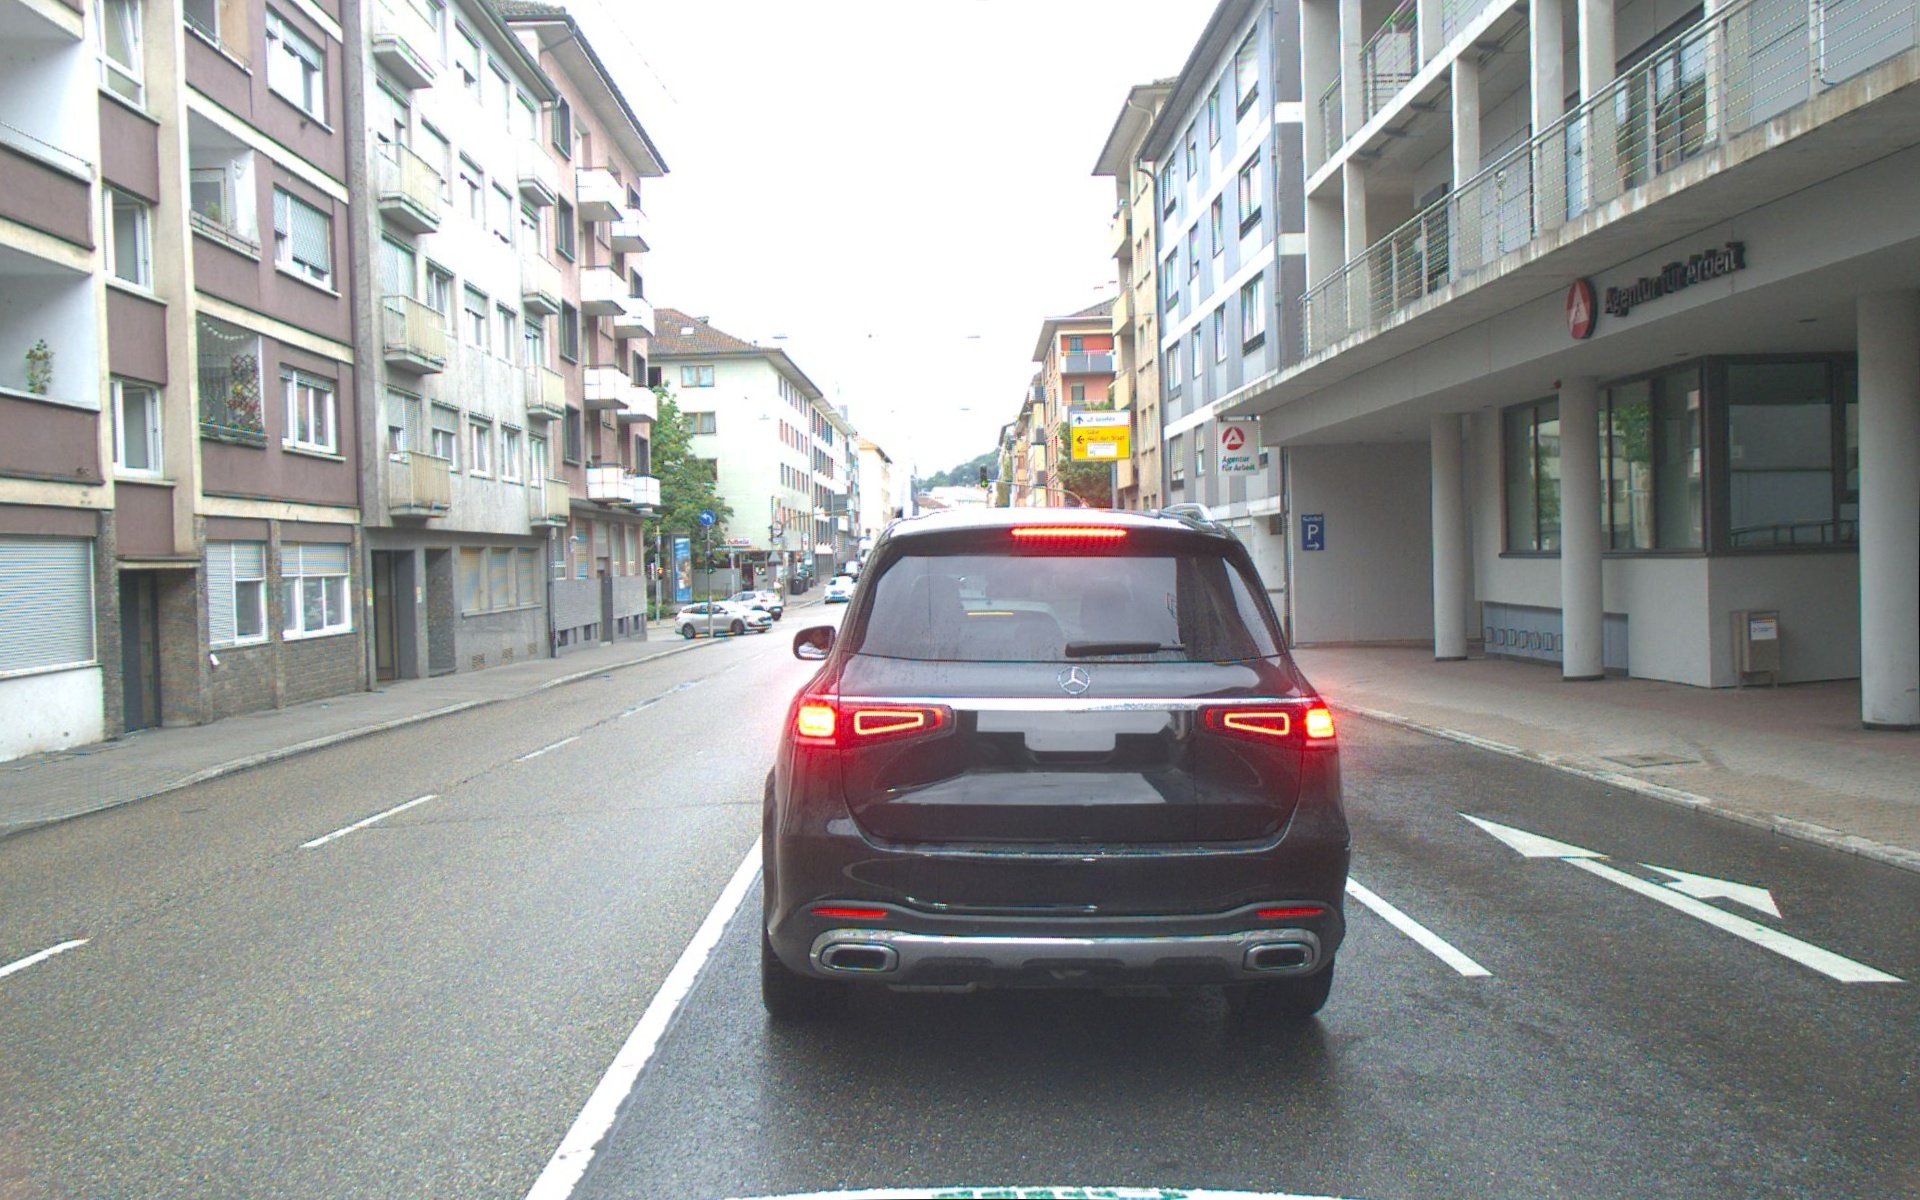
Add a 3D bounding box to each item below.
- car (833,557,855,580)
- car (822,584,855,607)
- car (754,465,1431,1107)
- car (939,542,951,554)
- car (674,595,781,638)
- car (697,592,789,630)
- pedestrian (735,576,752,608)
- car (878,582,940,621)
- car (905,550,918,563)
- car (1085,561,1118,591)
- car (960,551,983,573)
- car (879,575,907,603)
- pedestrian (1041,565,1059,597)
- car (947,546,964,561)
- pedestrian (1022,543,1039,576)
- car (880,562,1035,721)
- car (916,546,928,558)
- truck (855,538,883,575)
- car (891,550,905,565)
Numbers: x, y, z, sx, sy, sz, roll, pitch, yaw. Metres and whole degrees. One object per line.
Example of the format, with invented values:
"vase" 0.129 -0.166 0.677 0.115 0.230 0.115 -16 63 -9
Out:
"car" -9.208 -2.489 131.470 1.586 1.566 4.215 -3 0 -3
"car" -7.344 -0.275 100.487 1.848 1.286 4.215 -3 0 -3
"car" 0.360 0.553 7.000 1.944 1.836 4.389 1 0 -1
"car" -2.169 -7.623 241.369 1.586 1.566 4.215 -3 0 -3
"car" -9.955 0.706 70.778 4.261 1.566 1.776 -3 0 28
"car" -10.629 0.539 81.102 4.116 1.566 1.624 -3 0 19
"pedestrian" -13.307 -0.510 101.722 0.904 1.935 0.706 -2 0 -3
"car" -2.287 0.082 73.284 1.785 1.566 4.201 -3 0 -15
"car" -6.477 -5.724 219.193 1.586 1.566 4.215 -3 0 -3
"car" 8.097 -1.373 94.735 1.636 1.616 3.331 -2 1 1
"car" 0.999 -3.404 147.687 1.689 1.790 4.215 -3 0 -3
"car" -4.125 -0.653 101.150 1.586 1.566 4.215 -3 0 -3
"pedestrian" 5.379 -1.136 98.774 0.904 1.836 0.706 -2 0 -3
"car" -0.499 -5.203 183.925 1.586 1.411 4.215 -3 0 -3
"pedestrian" 4.470 -2.541 104.841 0.904 2.049 0.706 -2 0 -3
"car" -0.127 0.474 20.807 1.716 1.762 4.215 -1 0 -3
"car" -5.812 -7.311 250.167 1.586 1.566 4.215 -3 0 -3
"truck" -8.599 -4.058 156.922 2.430 3.099 9.914 -3 0 -3
"car" -7.282 -4.951 193.585 1.586 1.566 4.215 -3 0 -3
